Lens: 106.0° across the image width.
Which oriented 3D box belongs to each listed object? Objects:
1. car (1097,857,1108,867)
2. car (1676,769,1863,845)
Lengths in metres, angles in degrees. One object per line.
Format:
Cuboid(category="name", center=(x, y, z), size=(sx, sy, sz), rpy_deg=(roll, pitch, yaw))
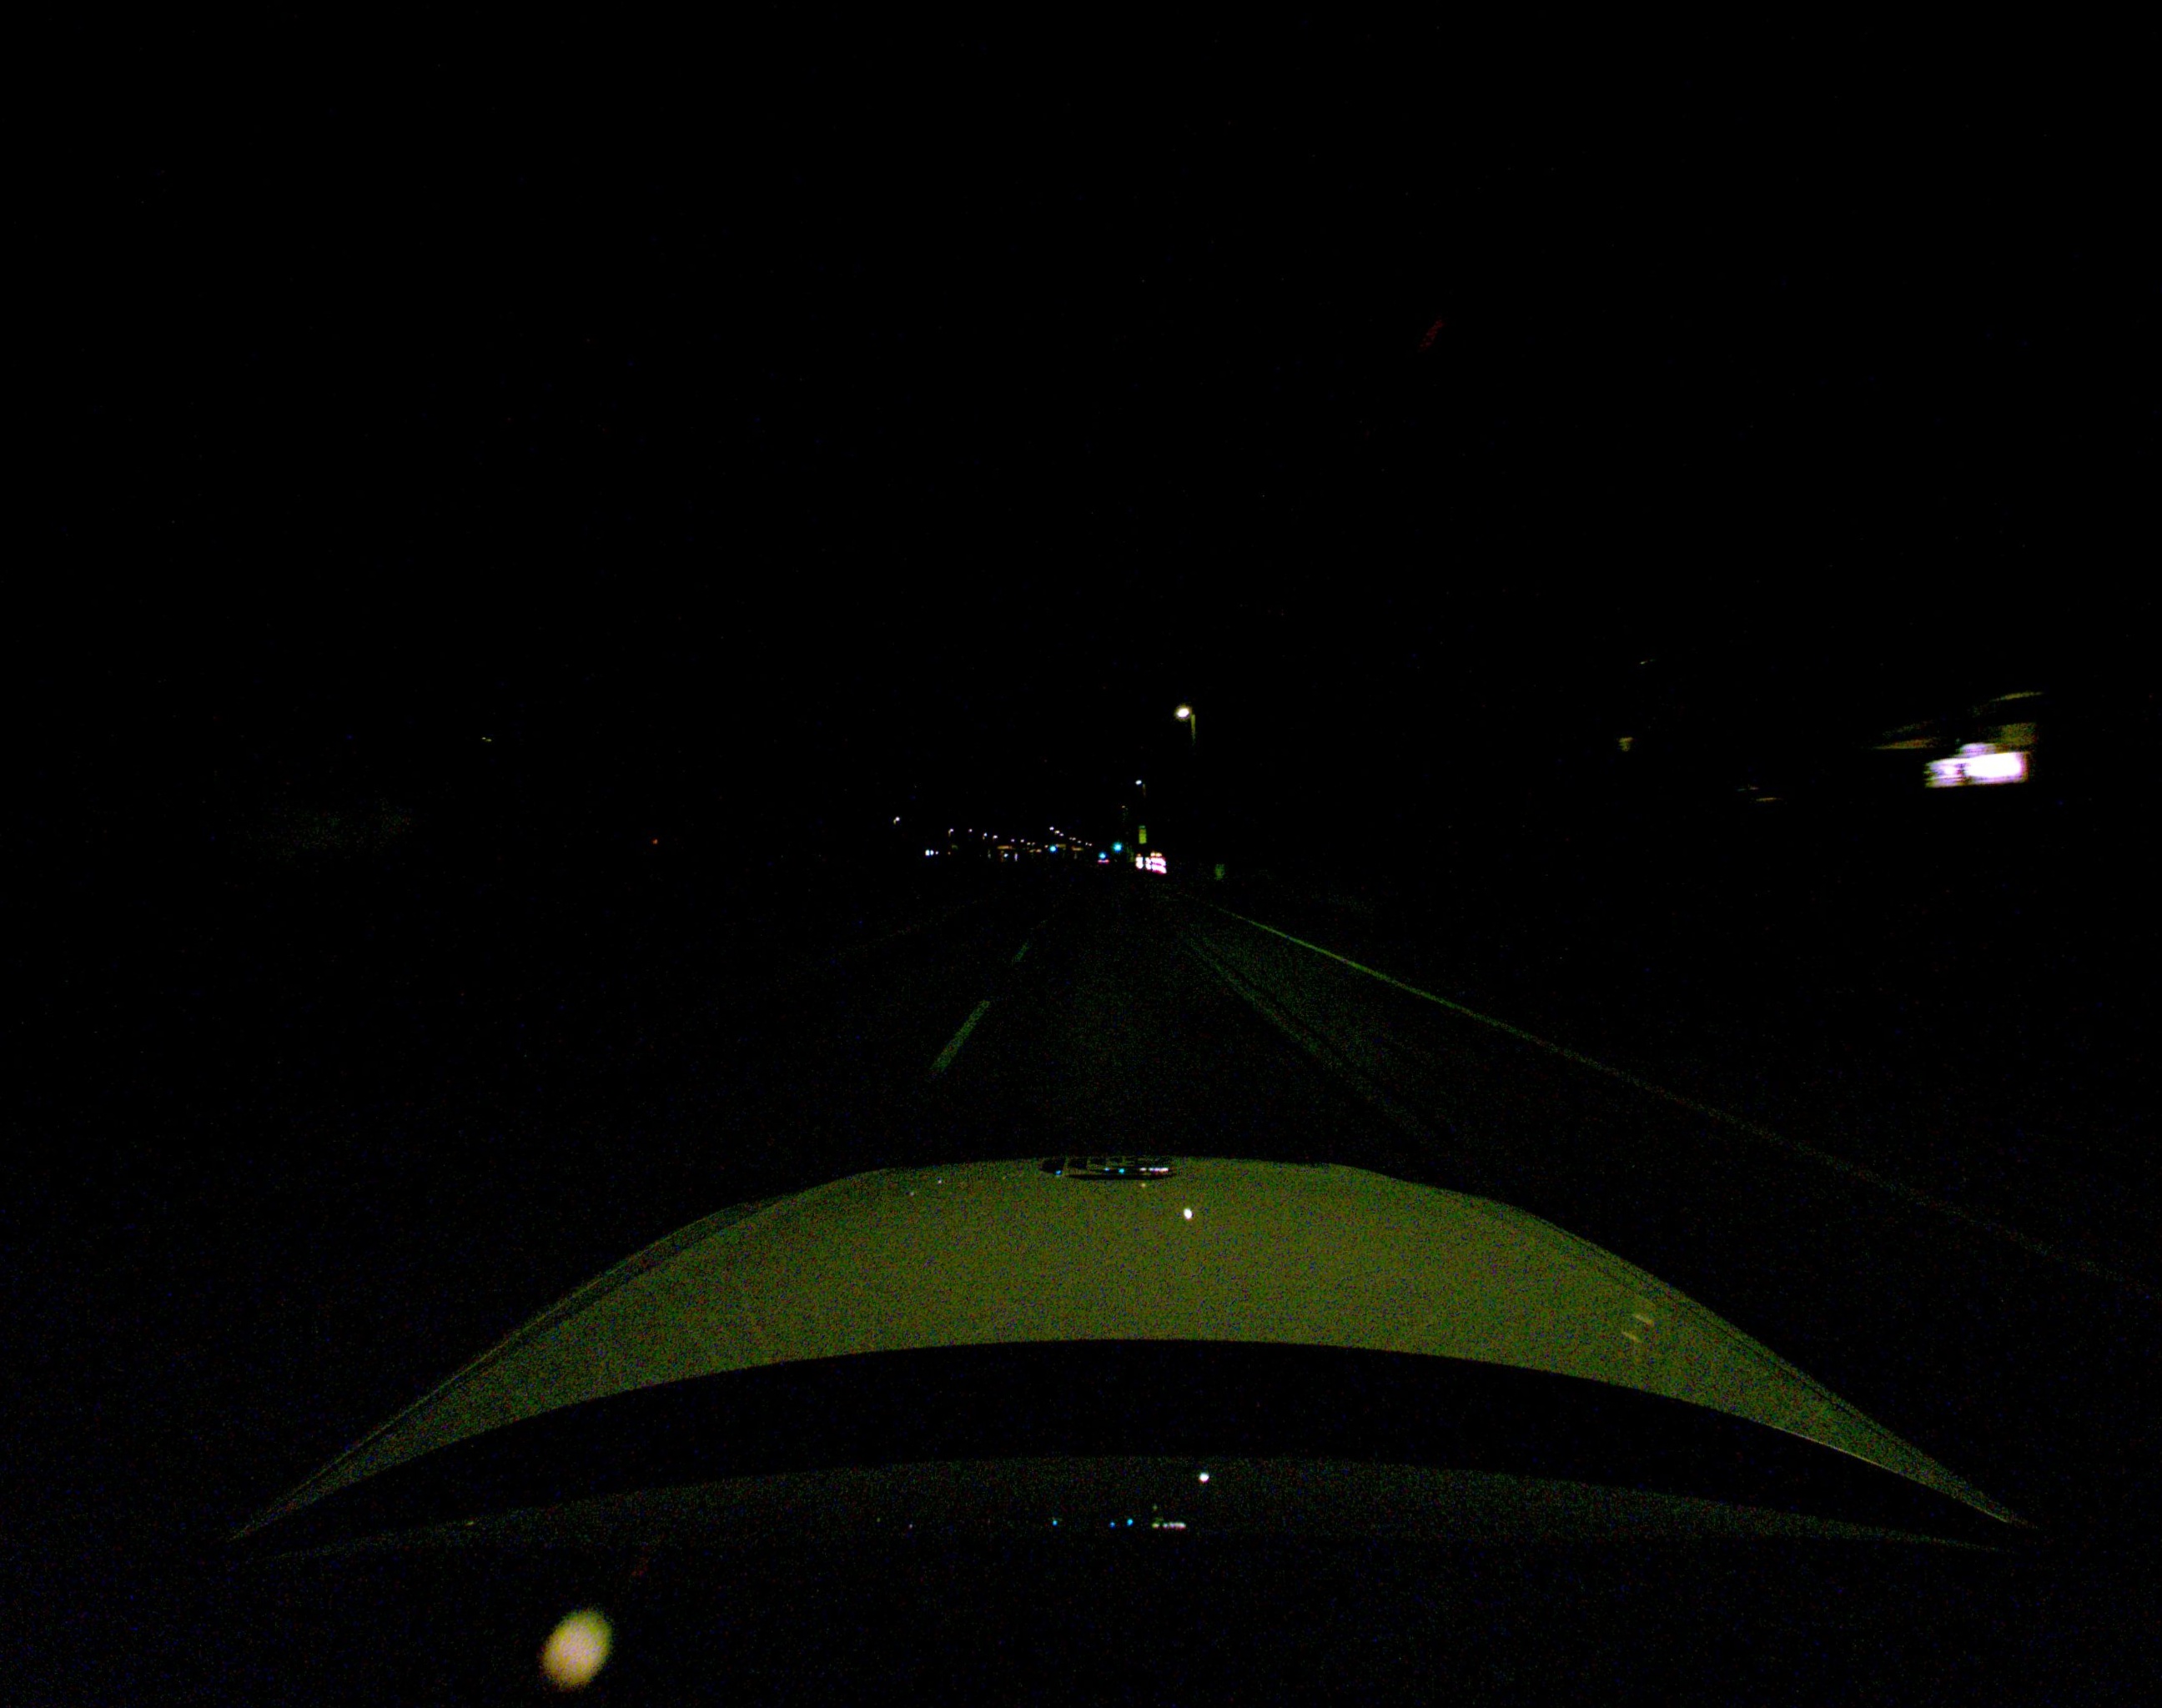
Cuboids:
Cuboid(category="car", center=(4.225, 1.546, 159.534), size=(2.080, 2.013, 4.002), rpy_deg=(-2, 0, 2))
Cuboid(category="car", center=(19.633, -1.261, 23.515), size=(1.943, 1.837, 4.117), rpy_deg=(-4, 0, 3))
